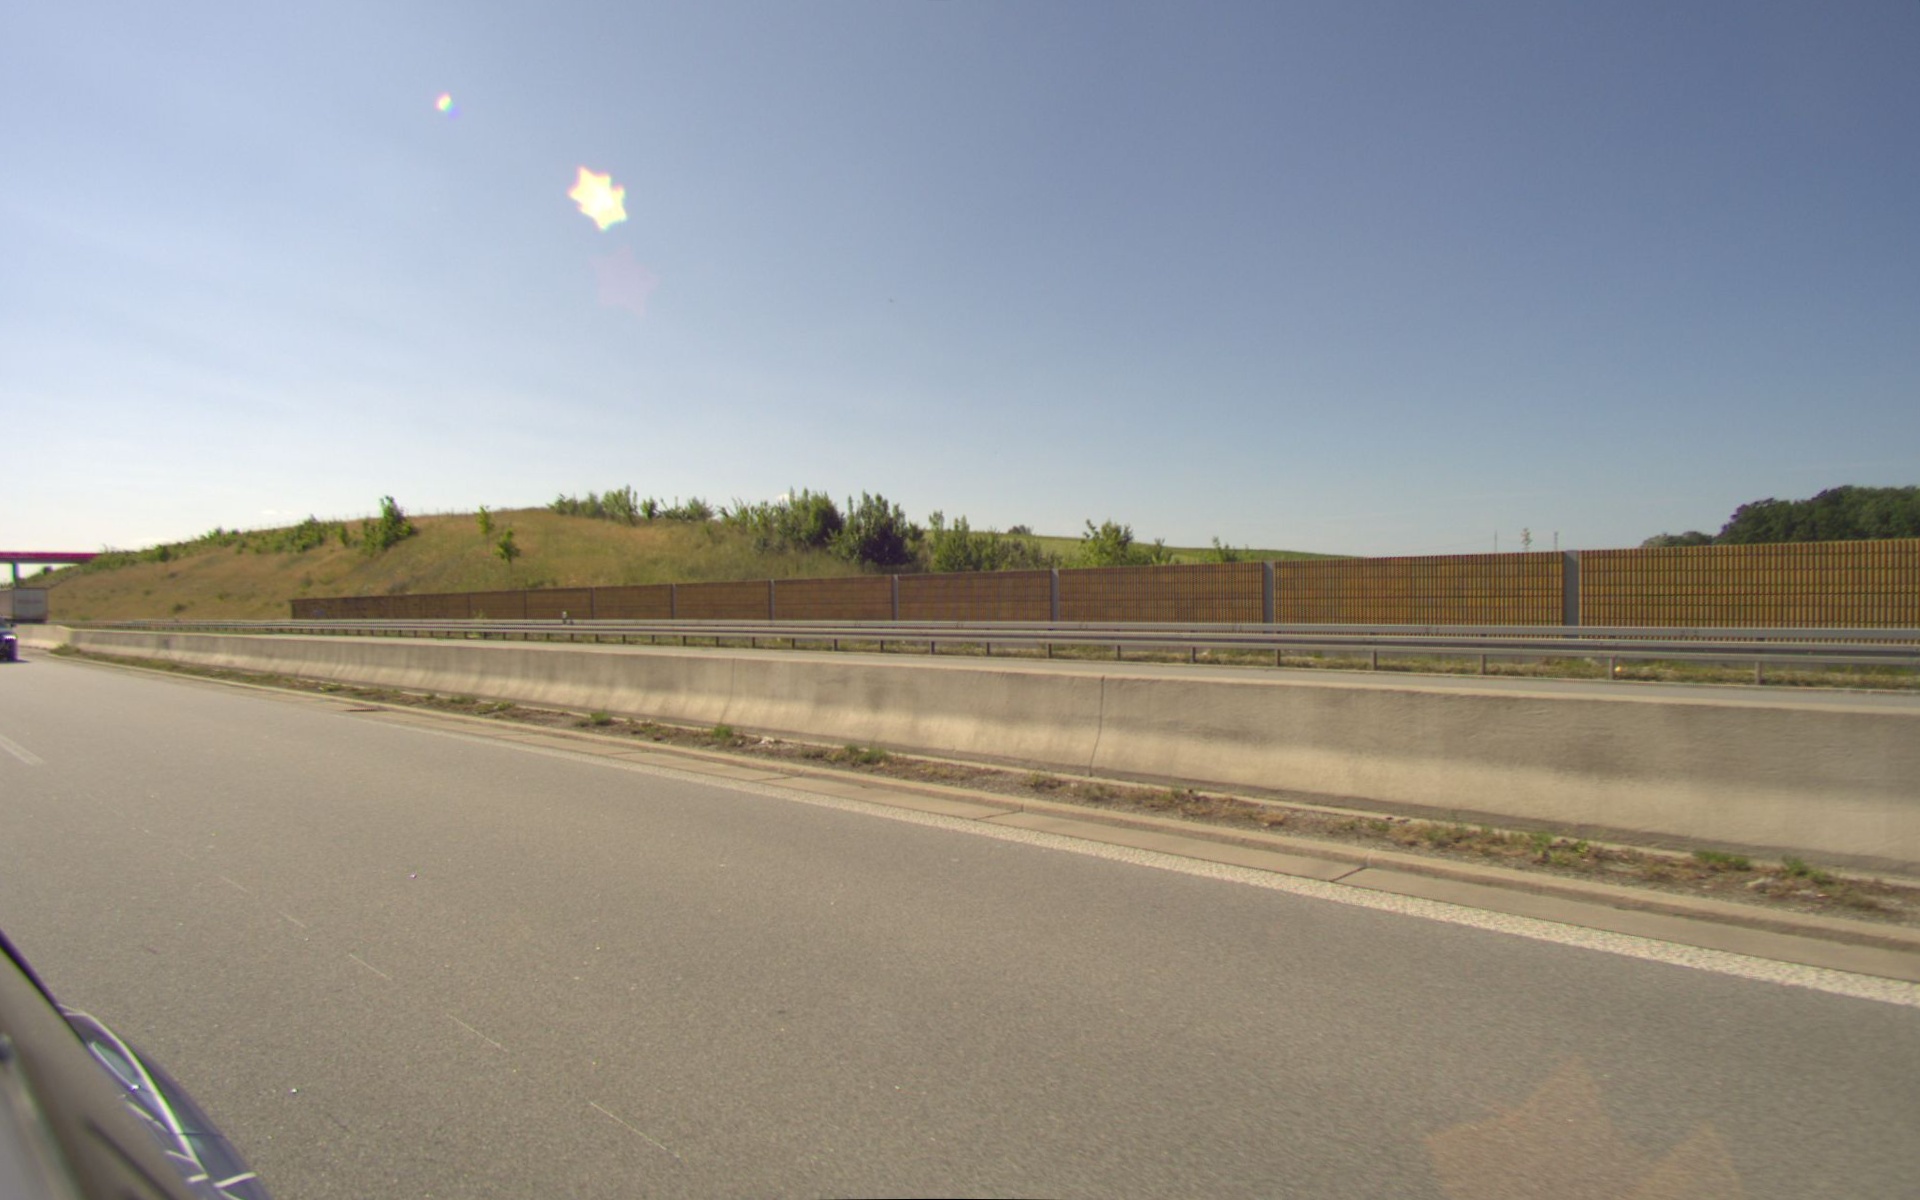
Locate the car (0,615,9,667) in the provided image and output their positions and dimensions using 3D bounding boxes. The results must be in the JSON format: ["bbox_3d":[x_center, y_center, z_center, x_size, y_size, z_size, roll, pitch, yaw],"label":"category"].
[{"bbox_3d":[-32.268,1.312,32.761,5.220,1.600,1.704,-1,0,41],"label":"car"}]

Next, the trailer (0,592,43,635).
[{"bbox_3d":[-92.822,1.318,99.172,13.724,3.905,2.611,-1,0,40],"label":"trailer"}]
